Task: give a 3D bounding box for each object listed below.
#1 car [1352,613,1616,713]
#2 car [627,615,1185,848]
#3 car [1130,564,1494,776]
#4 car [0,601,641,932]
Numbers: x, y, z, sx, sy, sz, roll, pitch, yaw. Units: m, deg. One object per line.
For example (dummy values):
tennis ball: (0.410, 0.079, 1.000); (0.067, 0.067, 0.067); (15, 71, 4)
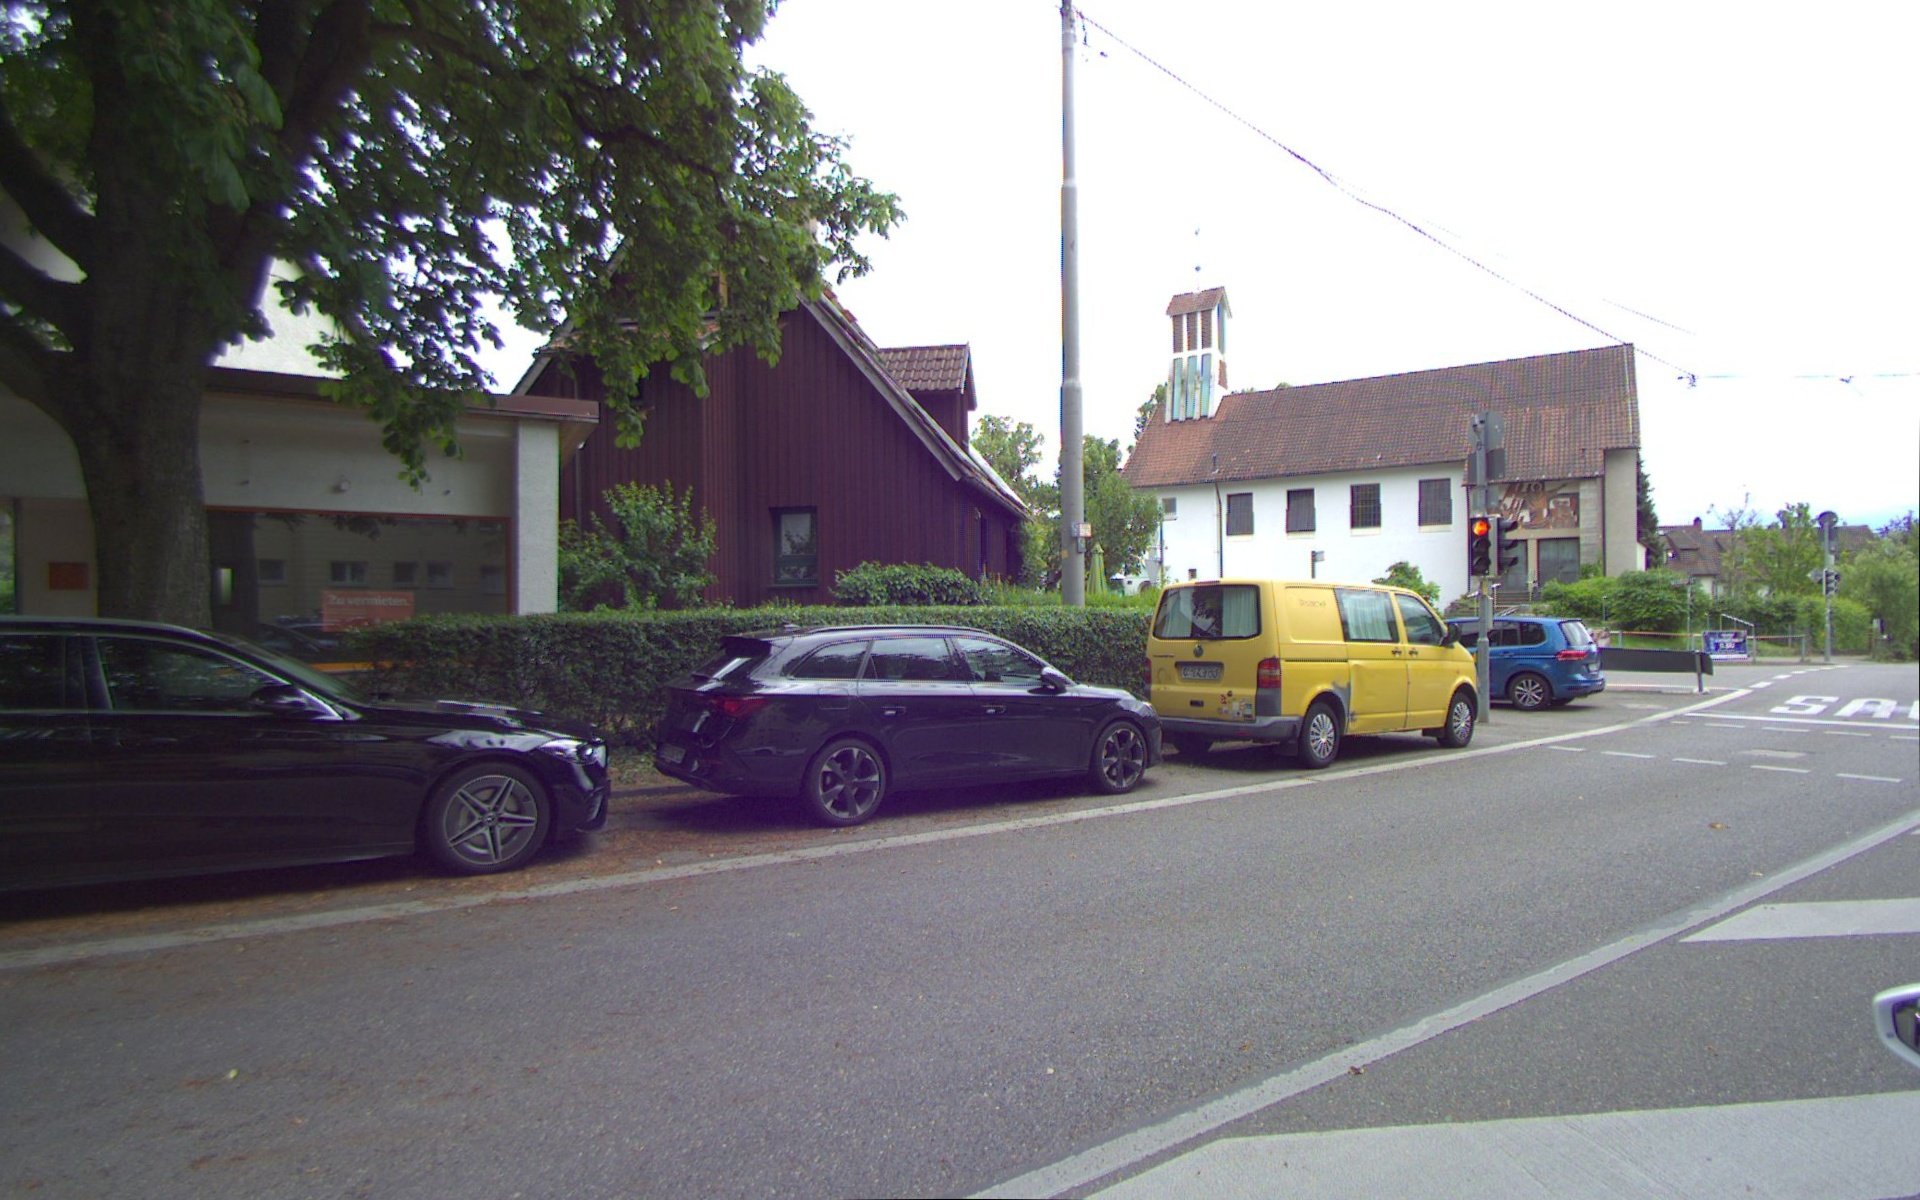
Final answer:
car: (9.550, 1.117, 18.513); (1.806, 1.632, 3.947); (2, -3, -45)
car: (-0.300, 0.905, 8.472); (4.495, 1.505, 1.680); (1, -2, -34)
car: (4.239, 0.733, 11.798); (4.524, 2.040, 1.870); (1, -2, -37)
car: (-4.399, 0.803, 5.814); (4.562, 1.520, 1.984); (1, -2, -31)
